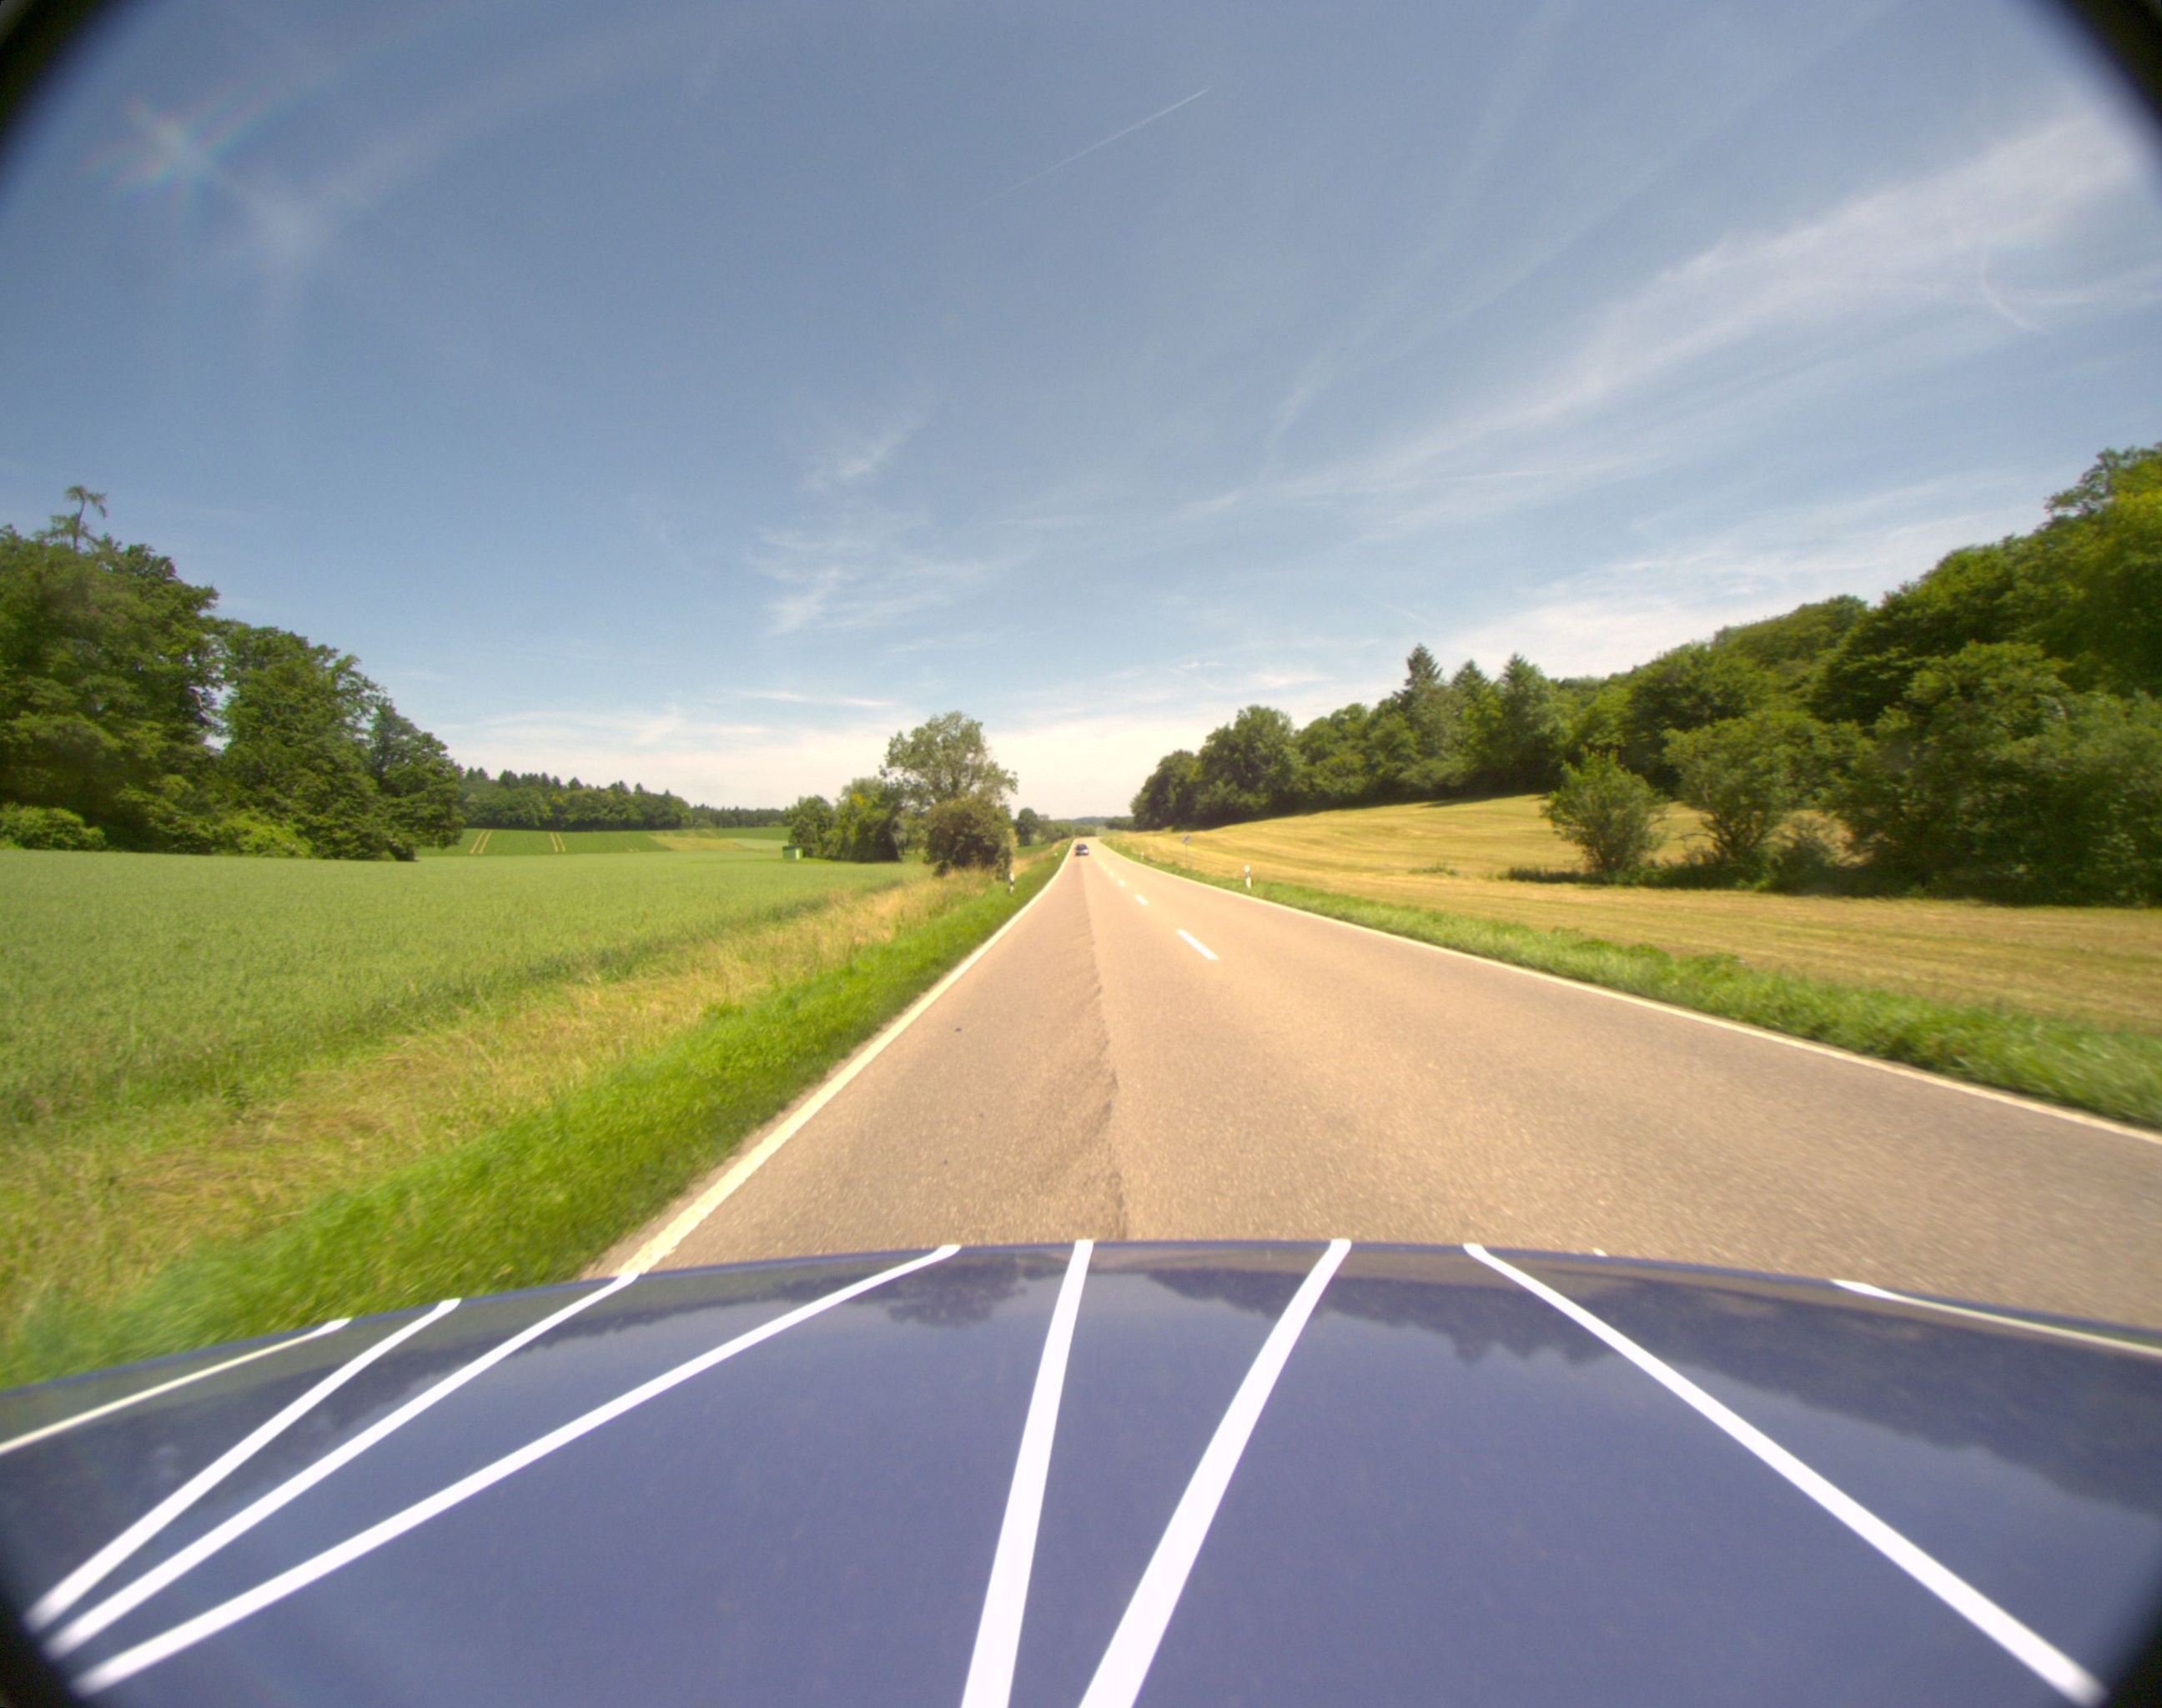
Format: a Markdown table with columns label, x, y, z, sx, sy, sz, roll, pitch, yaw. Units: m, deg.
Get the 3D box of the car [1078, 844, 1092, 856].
| label | x | y | z | sx | sy | sz | roll | pitch | yaw |
| --- | --- | --- | --- | --- | --- | --- | --- | --- | --- |
| car | 0.590 | -0.535 | 106.141 | 1.816 | 1.569 | 4.154 | -3 | -1 | 1 |
